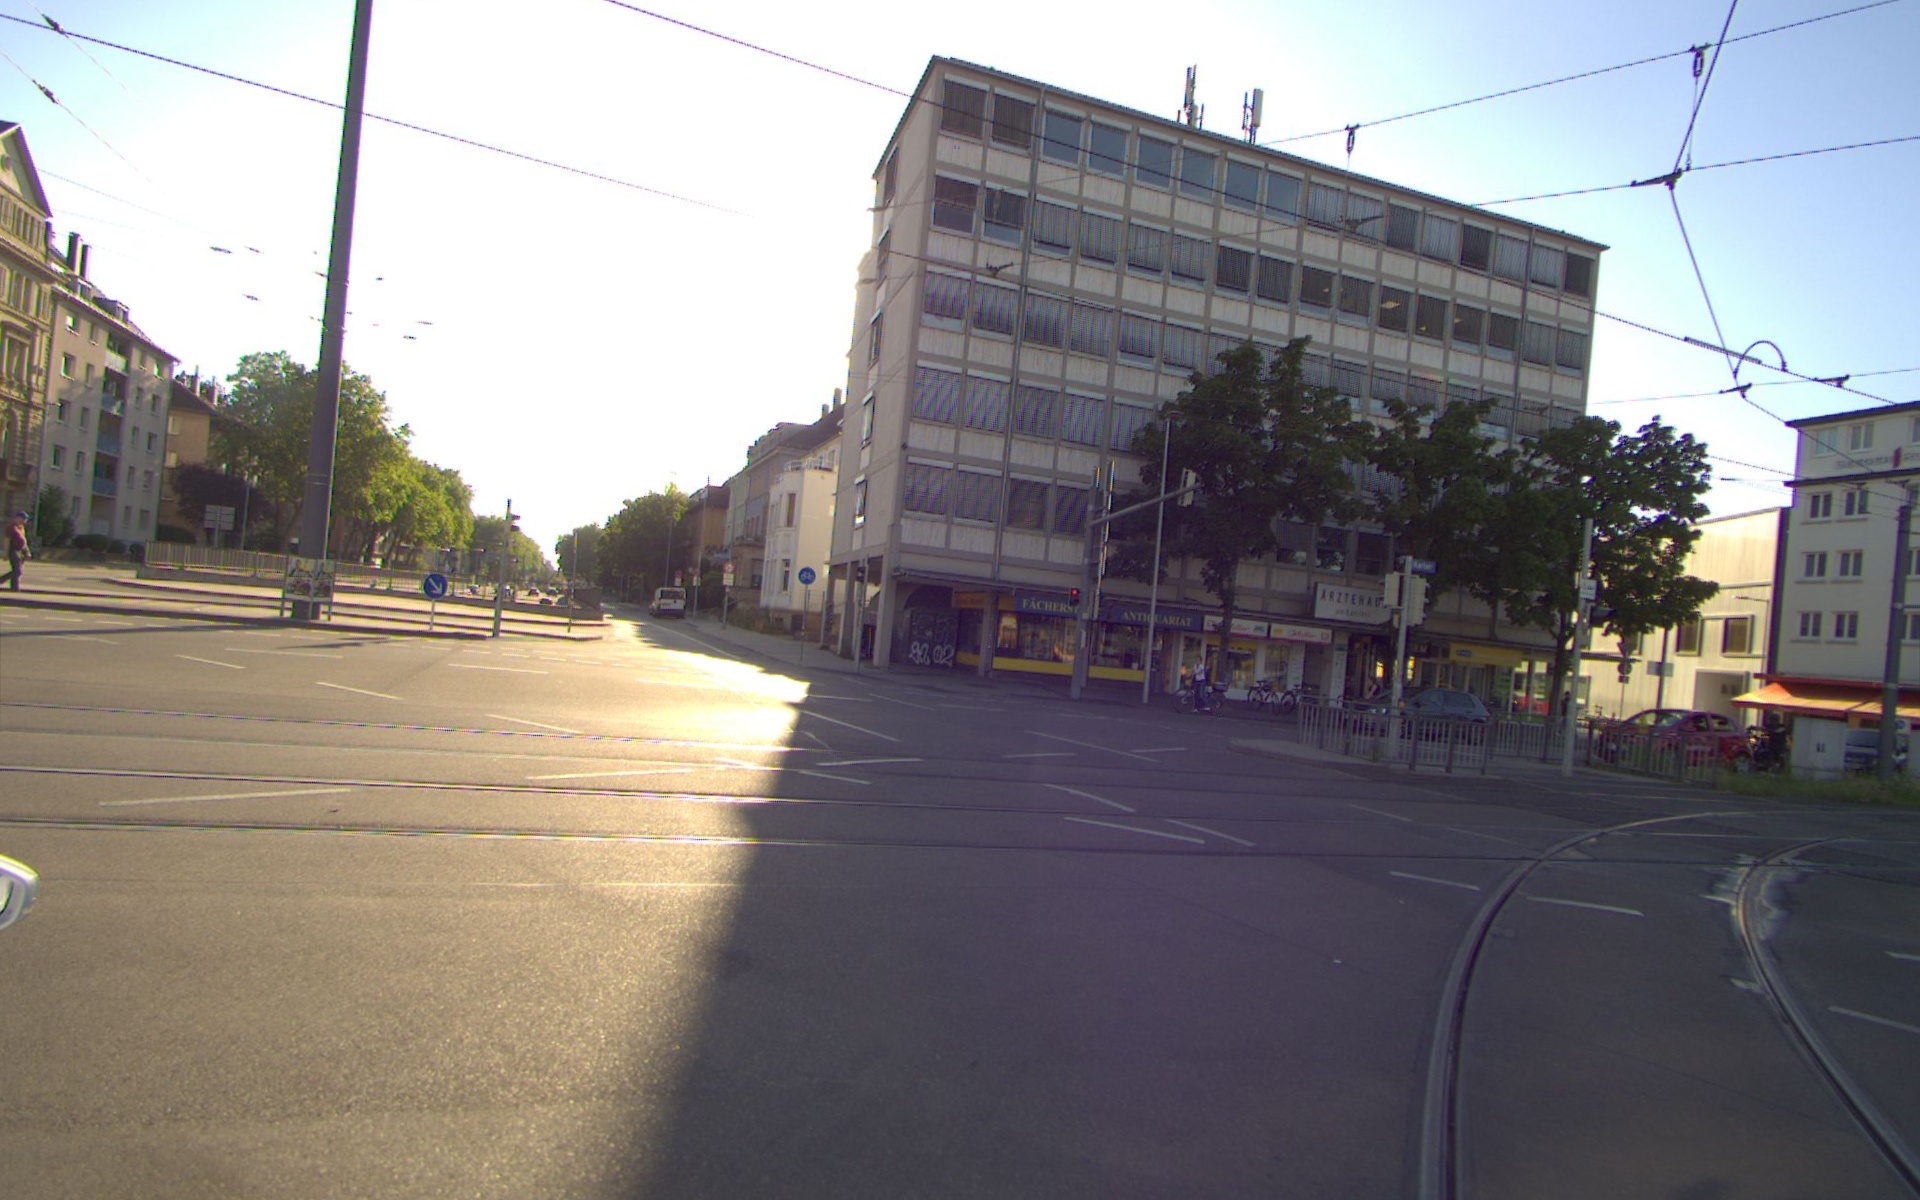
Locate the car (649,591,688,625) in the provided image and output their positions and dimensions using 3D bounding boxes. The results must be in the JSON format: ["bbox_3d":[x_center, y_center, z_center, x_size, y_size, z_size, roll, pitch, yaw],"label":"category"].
[{"bbox_3d":[-22.231,0.597,76.673,2.262,2.197,4.814,8,-3,-20],"label":"car"}]

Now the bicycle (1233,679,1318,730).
[{"bbox_3d":[9.781,3.232,31.288,0.743,1.157,2.621,8,0,-28],"label":"bicycle"}]

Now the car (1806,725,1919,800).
[{"bbox_3d":[24.950,4.470,27.560,3.968,1.636,1.826,9,-3,-37],"label":"car"}]

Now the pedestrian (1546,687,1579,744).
[{"bbox_3d":[22.902,4.392,38.266,0.616,2.037,0.715,7,-1,-3],"label":"pedestrian"}]

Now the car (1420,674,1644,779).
[{"bbox_3d":[11.997,2.643,21.143,3.942,1.636,1.838,8,-2,-18],"label":"car"}]

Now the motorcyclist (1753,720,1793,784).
[{"bbox_3d":[20.828,3.893,25.767,0.455,1.526,0.533,7,-2,-18],"label":"motorcyclist"}]

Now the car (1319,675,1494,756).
[{"bbox_3d":[12.034,3.113,27.140,4.022,1.636,1.838,8,-2,-18],"label":"car"}]

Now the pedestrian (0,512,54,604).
[{"bbox_3d":[-20.735,-0.941,21.868,1.184,1.906,0.851,8,-1,-27],"label":"pedestrian"}]

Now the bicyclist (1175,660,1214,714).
[{"bbox_3d":[6.720,2.497,28.826,0.673,1.440,0.668,7,-2,-23],"label":"bicyclist"}]

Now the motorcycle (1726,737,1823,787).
[{"bbox_3d":[20.883,4.160,25.790,2.632,1.013,0.533,8,-2,-18],"label":"motorcycle"}]

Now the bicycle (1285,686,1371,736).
[{"bbox_3d":[11.757,3.530,32.242,0.743,1.157,2.621,8,0,-28],"label":"bicycle"}]

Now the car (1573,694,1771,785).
[{"bbox_3d":[17.142,3.360,24.261,3.942,1.636,1.838,8,-2,-18],"label":"car"}]

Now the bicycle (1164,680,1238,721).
[{"bbox_3d":[6.941,2.897,28.918,2.005,0.951,0.668,8,-2,-24],"label":"bicycle"}]

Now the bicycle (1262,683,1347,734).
[{"bbox_3d":[10.843,3.396,31.791,0.743,1.157,2.621,8,0,-28],"label":"bicycle"}]
